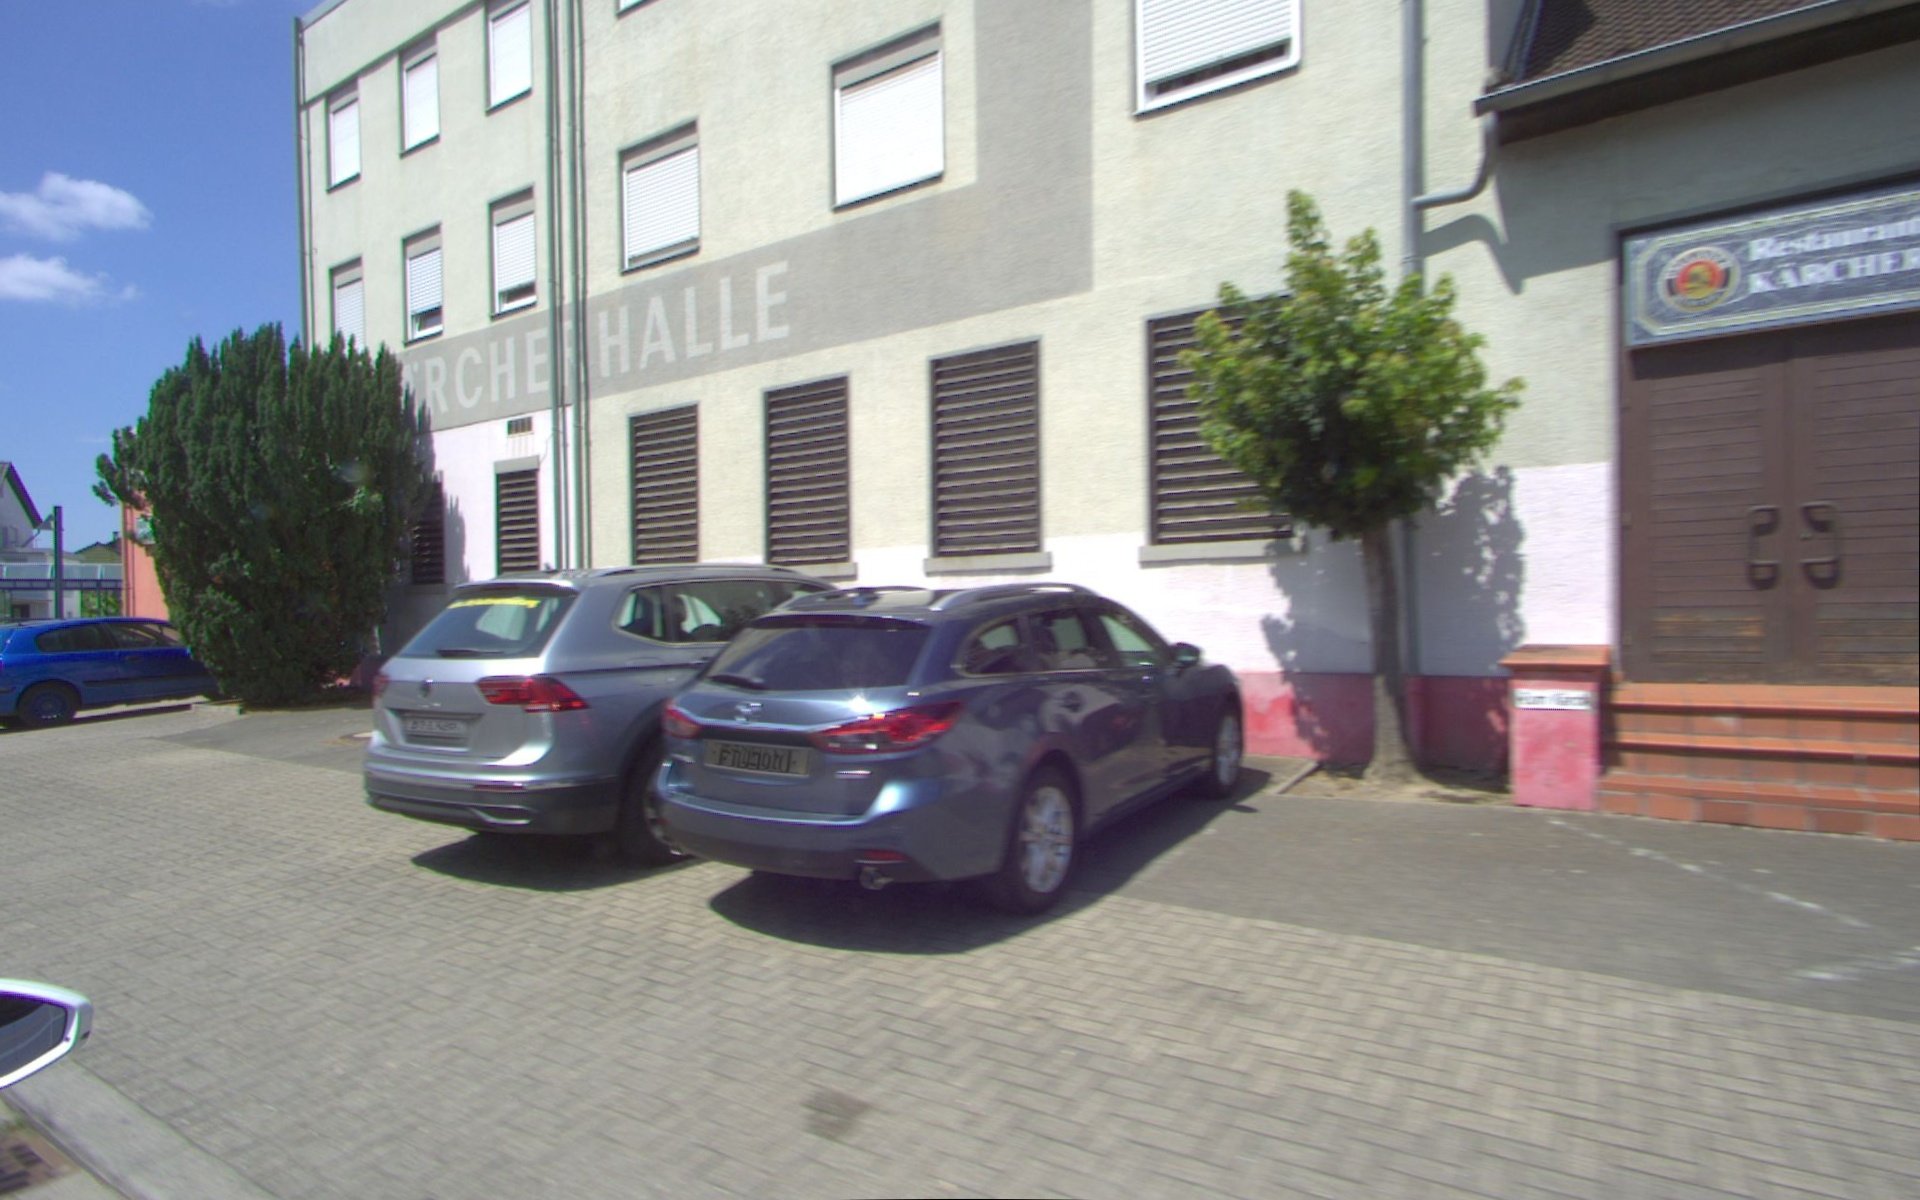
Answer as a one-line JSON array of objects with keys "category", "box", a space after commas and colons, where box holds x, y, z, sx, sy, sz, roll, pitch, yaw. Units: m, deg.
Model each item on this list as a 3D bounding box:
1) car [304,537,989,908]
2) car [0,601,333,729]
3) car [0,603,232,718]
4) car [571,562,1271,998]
[{"category": "car", "box": [-1.712, 0.536, 7.039, 1.894, 1.720, 4.444, -1, 1, 31]}, {"category": "car", "box": [-12.242, 0.907, 15.097, 1.755, 1.458, 4.311, -4, 1, 32]}, {"category": "car", "box": [-14.944, 1.006, 16.846, 1.784, 1.511, 3.884, -3, 3, 31]}, {"category": "car", "box": [0.255, 0.599, 5.956, 1.971, 1.540, 4.490, -1, 1, 32]}]
